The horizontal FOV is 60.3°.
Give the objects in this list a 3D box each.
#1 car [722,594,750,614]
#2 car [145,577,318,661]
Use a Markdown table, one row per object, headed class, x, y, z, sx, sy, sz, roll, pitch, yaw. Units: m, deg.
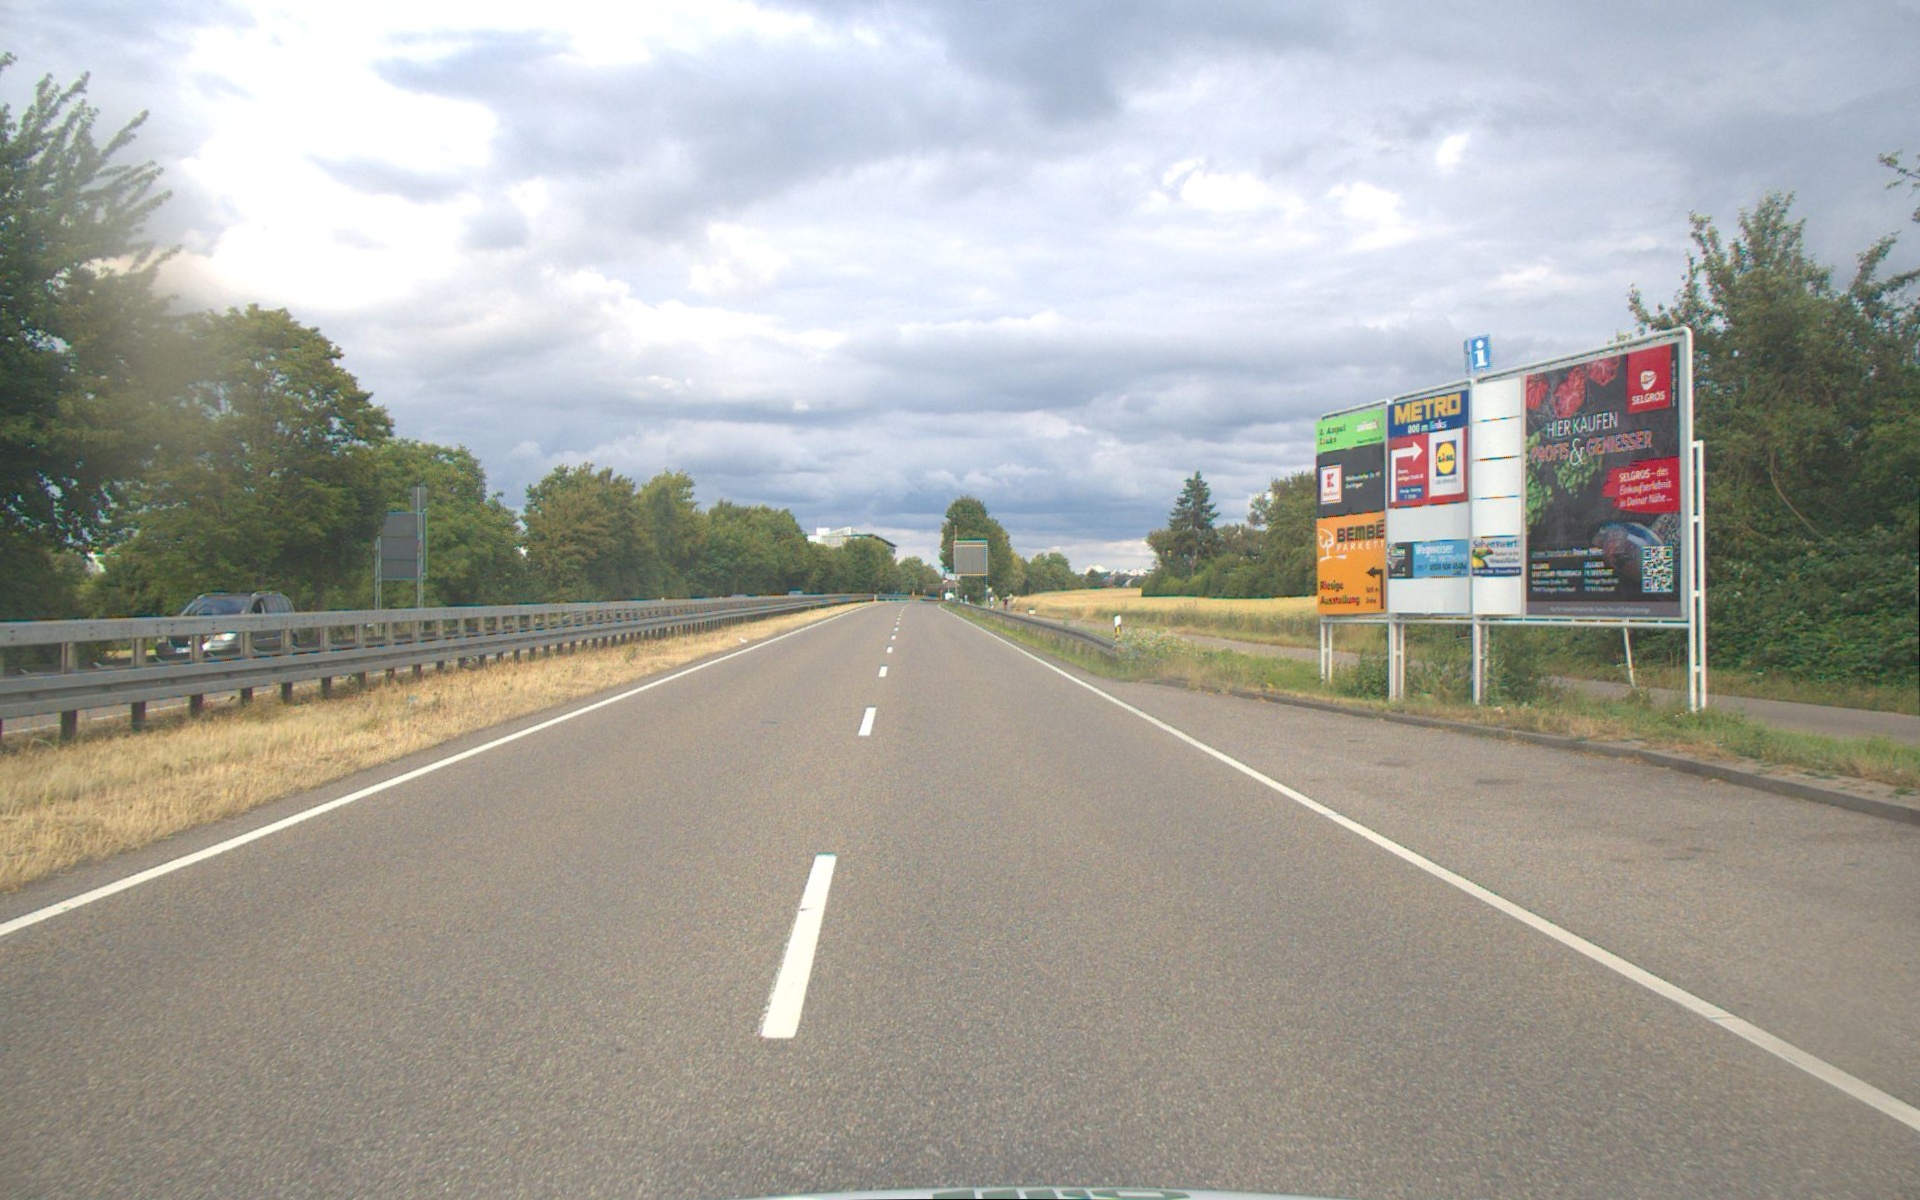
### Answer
| class | x | y | z | sx | sy | sz | roll | pitch | yaw |
| --- | --- | --- | --- | --- | --- | --- | --- | --- | --- |
| car | -19.517 | 0.317 | 144.269 | 1.761 | 1.654 | 4.483 | -2 | 0 | -1 |
| car | -15.706 | 0.379 | 35.934 | 1.761 | 1.654 | 4.483 | -2 | 0 | -1 |
